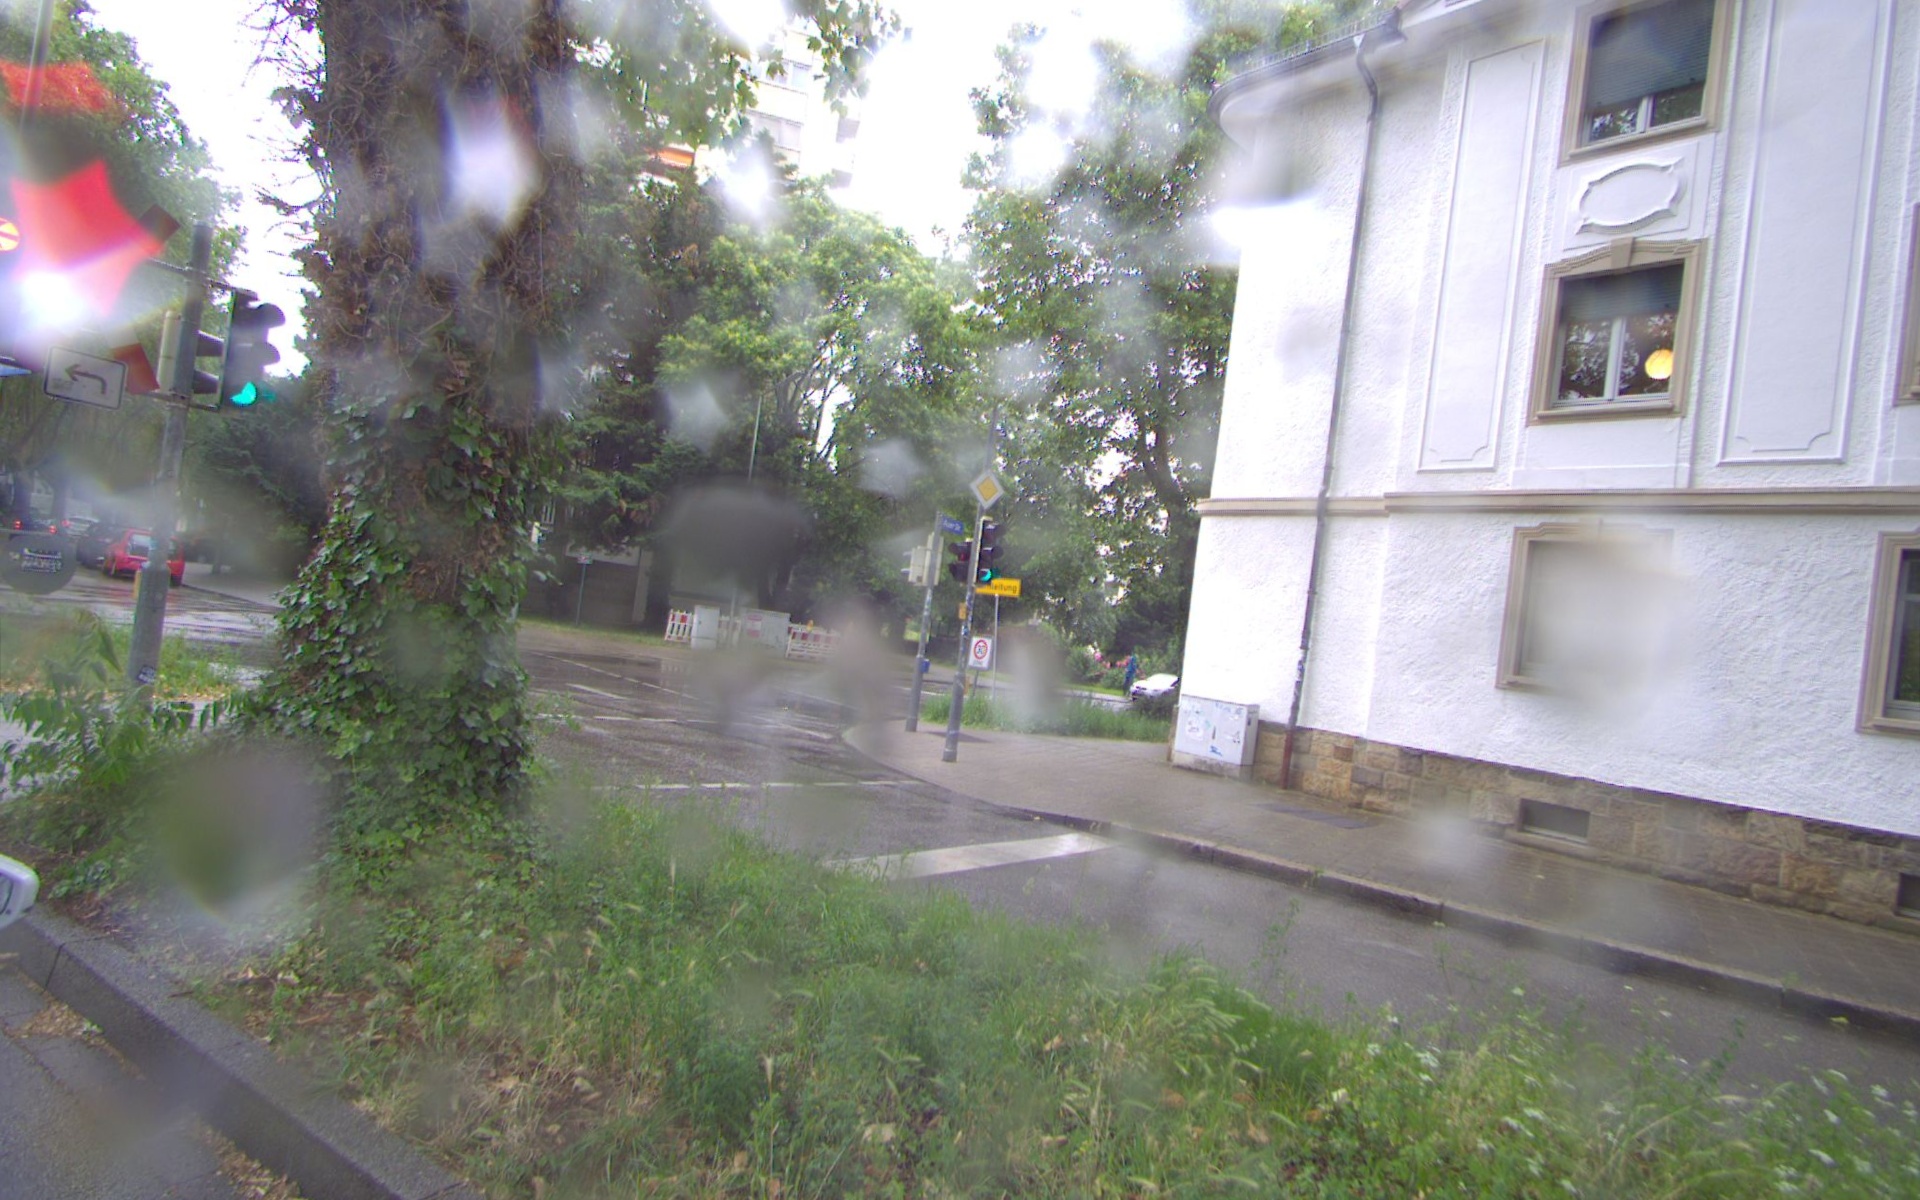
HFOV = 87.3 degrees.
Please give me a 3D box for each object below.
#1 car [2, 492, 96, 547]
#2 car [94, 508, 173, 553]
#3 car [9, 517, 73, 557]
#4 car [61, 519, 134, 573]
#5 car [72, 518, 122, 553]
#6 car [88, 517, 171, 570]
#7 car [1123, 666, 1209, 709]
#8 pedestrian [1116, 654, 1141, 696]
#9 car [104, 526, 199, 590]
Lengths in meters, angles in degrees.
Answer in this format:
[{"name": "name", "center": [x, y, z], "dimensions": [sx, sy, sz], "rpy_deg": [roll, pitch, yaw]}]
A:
[{"name": "car", "center": [-61.111, -5.390, 67.528], "dimensions": [4.680, 2.982, 2.043], "rpy_deg": [7, -1, 12]}, {"name": "car", "center": [-69.650, -5.839, 84.808], "dimensions": [4.683, 2.982, 2.001], "rpy_deg": [7, -1, 1]}, {"name": "car", "center": [-41.945, -2.877, 45.969], "dimensions": [1.673, 1.491, 3.627], "rpy_deg": [8, -2, -37]}, {"name": "car", "center": [-33.179, -2.095, 38.660], "dimensions": [1.779, 1.747, 3.951], "rpy_deg": [9, -2, -44]}, {"name": "car", "center": [-50.238, -3.755, 58.610], "dimensions": [1.766, 1.697, 3.960], "rpy_deg": [8, -2, -37]}, {"name": "car", "center": [-28.095, -1.937, 33.998], "dimensions": [1.780, 1.363, 3.879], "rpy_deg": [10, -2, -44]}, {"name": "car", "center": [9.413, 4.003, 45.806], "dimensions": [1.829, 1.473, 3.979], "rpy_deg": [6, -3, 45]}, {"name": "pedestrian", "center": [7.896, 3.519, 47.079], "dimensions": [0.670, 1.863, 0.713], "rpy_deg": [6, -1, 44]}, {"name": "car", "center": [-24.828, -1.308, 30.841], "dimensions": [1.788, 1.515, 3.950], "rpy_deg": [10, -2, -44]}]
